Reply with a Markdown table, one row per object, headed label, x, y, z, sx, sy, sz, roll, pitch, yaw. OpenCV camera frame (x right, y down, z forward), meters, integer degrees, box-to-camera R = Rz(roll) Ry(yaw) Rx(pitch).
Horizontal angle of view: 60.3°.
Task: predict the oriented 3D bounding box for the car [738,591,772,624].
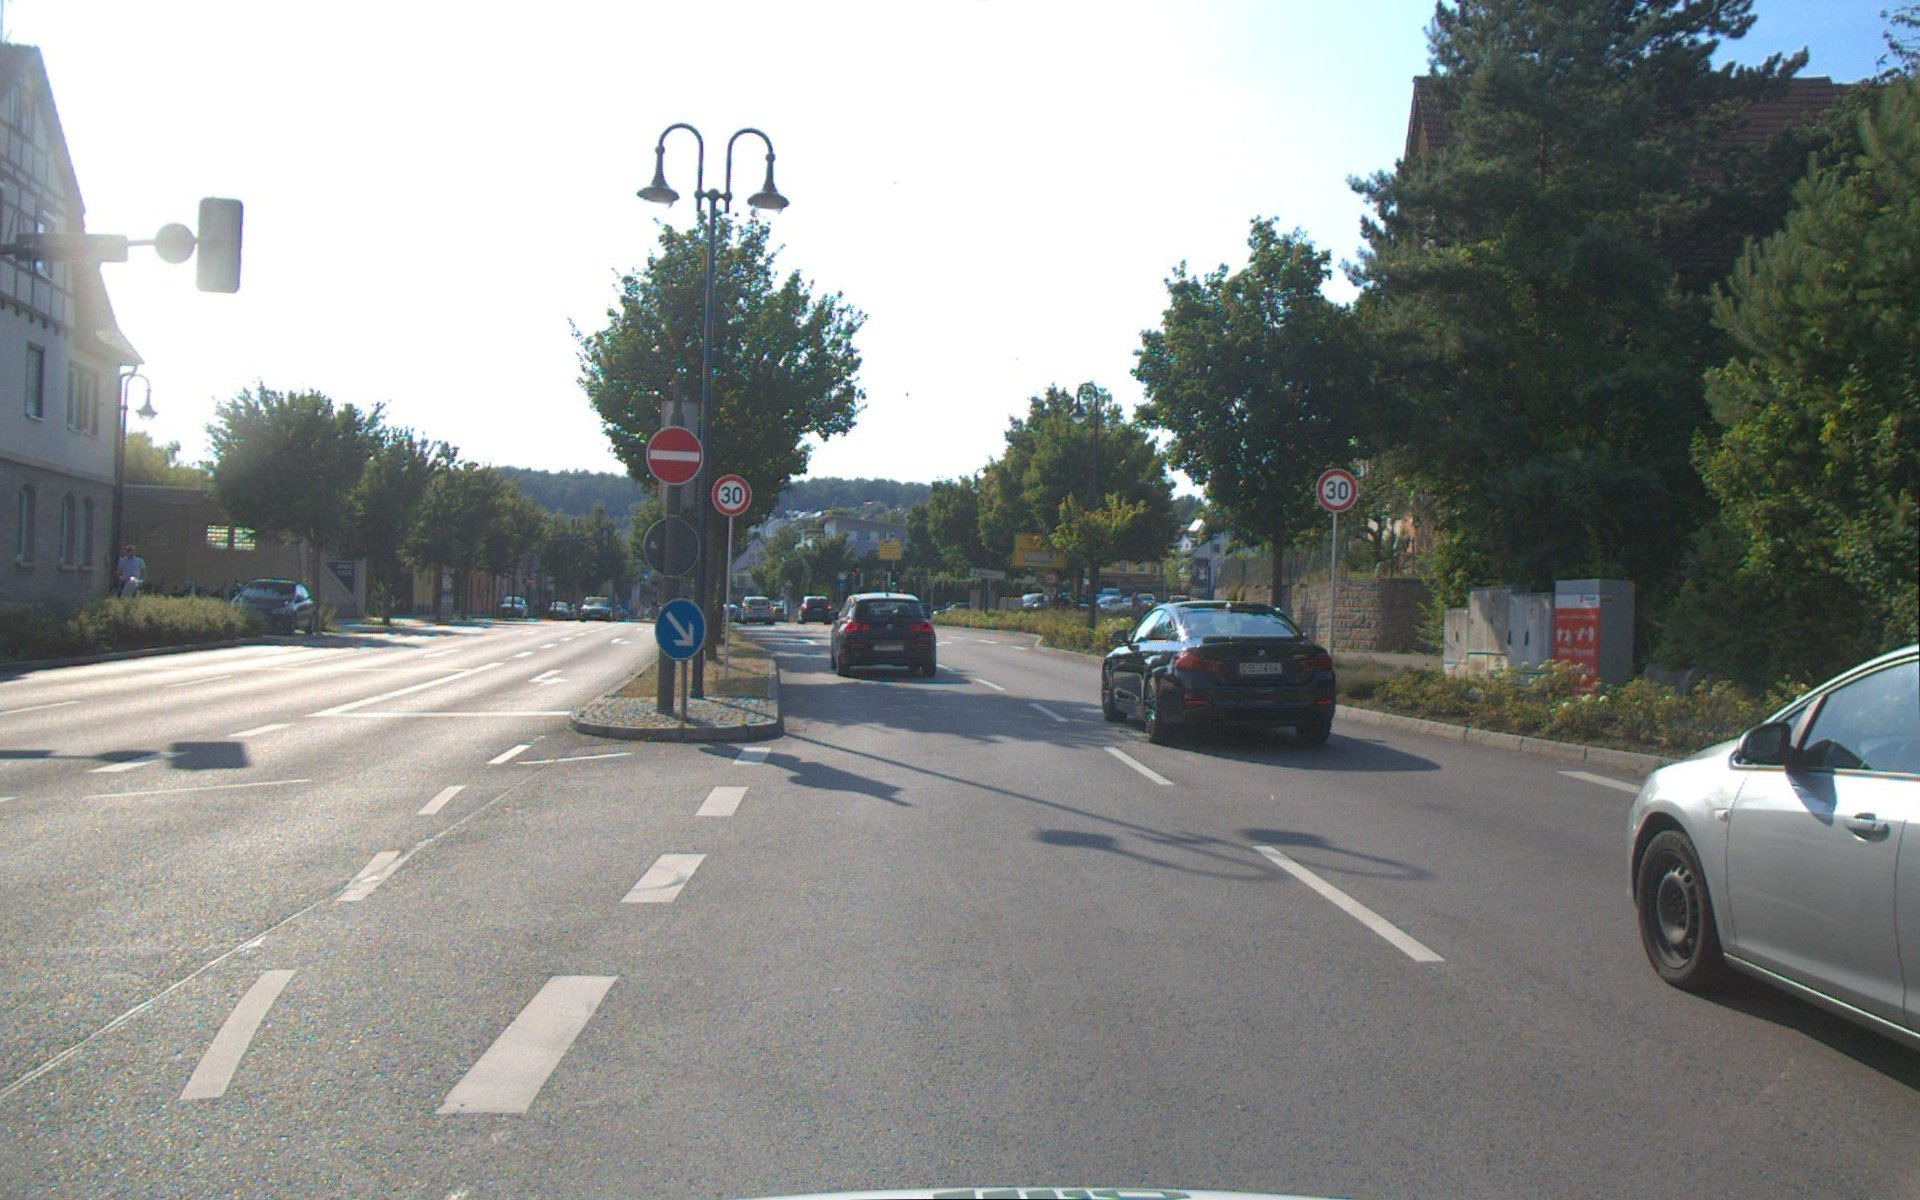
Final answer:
| label | x | y | z | sx | sy | sz | roll | pitch | yaw |
| --- | --- | --- | --- | --- | --- | --- | --- | --- | --- |
| car | -11.426 | 0.406 | 92.088 | 1.724 | 1.800 | 3.962 | 0 | 0 | -9 |

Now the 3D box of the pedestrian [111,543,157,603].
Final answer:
| label | x | y | z | sx | sy | sz | roll | pitch | yaw |
| --- | --- | --- | --- | --- | --- | --- | --- | --- | --- |
| pedestrian | -19.817 | -0.649 | 39.688 | 0.798 | 1.418 | 0.705 | 1 | 0 | -11 |

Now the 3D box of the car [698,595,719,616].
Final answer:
| label | x | y | z | sx | sy | sz | roll | pitch | yaw |
| --- | --- | --- | --- | --- | --- | --- | --- | --- | --- |
| car | -24.667 | 0.514 | 162.197 | 1.738 | 2.049 | 3.996 | 1 | 0 | -5 |

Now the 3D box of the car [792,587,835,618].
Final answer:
| label | x | y | z | sx | sy | sz | roll | pitch | yaw |
| --- | --- | --- | --- | --- | --- | --- | --- | --- | --- |
| car | -8.738 | 0.153 | 98.272 | 2.176 | 1.800 | 4.444 | 0 | 0 | -9 |

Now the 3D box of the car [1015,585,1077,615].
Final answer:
| label | x | y | z | sx | sy | sz | roll | pitch | yaw |
| --- | --- | --- | --- | --- | --- | --- | --- | --- | --- |
| car | 6.566 | 0.016 | 125.818 | 2.106 | 2.167 | 5.098 | 1 | 0 | 40 |

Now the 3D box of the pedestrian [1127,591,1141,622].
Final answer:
| label | x | y | z | sx | sy | sz | roll | pitch | yaw |
| --- | --- | --- | --- | --- | --- | --- | --- | --- | --- |
| pedestrian | 9.969 | 0.374 | 94.990 | 0.681 | 1.732 | 0.950 | 0 | 0 | -1 |

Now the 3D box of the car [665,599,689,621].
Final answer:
| label | x | y | z | sx | sy | sz | roll | pitch | yaw |
| --- | --- | --- | --- | --- | --- | --- | --- | --- | --- |
| car | -22.584 | 0.805 | 131.975 | 1.697 | 1.708 | 3.993 | 1 | 0 | -8 |

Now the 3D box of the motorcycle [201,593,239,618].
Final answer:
| label | x | y | z | sx | sy | sz | roll | pitch | yaw |
| --- | --- | --- | --- | --- | --- | --- | --- | --- | --- |
| motorcycle | -31.350 | 0.232 | 70.078 | 0.505 | 1.022 | 1.542 | 0 | 0 | 21 |

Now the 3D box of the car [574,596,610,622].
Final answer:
| label | x | y | z | sx | sy | sz | roll | pitch | yaw |
| --- | --- | --- | --- | --- | --- | --- | --- | --- | --- |
| car | -20.574 | 0.499 | 92.476 | 1.724 | 1.385 | 4.474 | 0 | 0 | -10 |

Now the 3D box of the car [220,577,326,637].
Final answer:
| label | x | y | z | sx | sy | sz | roll | pitch | yaw |
| --- | --- | --- | --- | --- | --- | --- | --- | --- | --- |
| car | -19.410 | 0.184 | 46.880 | 1.724 | 1.479 | 4.124 | 5 | -1 | -9 |

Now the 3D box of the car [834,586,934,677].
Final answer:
| label | x | y | z | sx | sy | sz | roll | pitch | yaw |
| --- | --- | --- | --- | --- | --- | --- | --- | --- | --- |
| car | -1.381 | 0.530 | 30.466 | 1.686 | 1.516 | 4.351 | 1 | 0 | -2 |

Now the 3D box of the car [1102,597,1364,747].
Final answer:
| label | x | y | z | sx | sy | sz | roll | pitch | yaw |
| --- | --- | --- | --- | --- | --- | --- | --- | --- | --- |
| car | 2.733 | 0.679 | 17.575 | 1.882 | 1.388 | 4.350 | 0 | 0 | -3 |

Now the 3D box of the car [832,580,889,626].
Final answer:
| label | x | y | z | sx | sy | sz | roll | pitch | yaw |
| --- | --- | --- | --- | --- | --- | --- | --- | --- | --- |
| car | -4.150 | 0.112 | 68.514 | 1.890 | 1.800 | 4.444 | 0 | 0 | -9 |

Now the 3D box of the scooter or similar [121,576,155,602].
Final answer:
| label | x | y | z | sx | sy | sz | roll | pitch | yaw |
| --- | --- | --- | --- | --- | --- | --- | --- | --- | --- |
| scooter or similar | -19.288 | -0.264 | 38.823 | 0.435 | 0.592 | 1.041 | 1 | 0 | -10 |

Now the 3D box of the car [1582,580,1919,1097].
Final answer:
| label | x | y | z | sx | sy | sz | roll | pitch | yaw |
| --- | --- | --- | --- | --- | --- | --- | --- | --- | --- |
| car | 3.649 | 0.700 | 5.106 | 1.686 | 1.516 | 4.304 | 0 | 1 | -2 |

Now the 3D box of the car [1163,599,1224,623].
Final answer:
| label | x | y | z | sx | sy | sz | roll | pitch | yaw |
| --- | --- | --- | --- | --- | --- | --- | --- | --- | --- |
| car | 19.100 | 0.887 | 135.169 | 4.549 | 1.861 | 1.994 | 0 | 0 | -12 |
